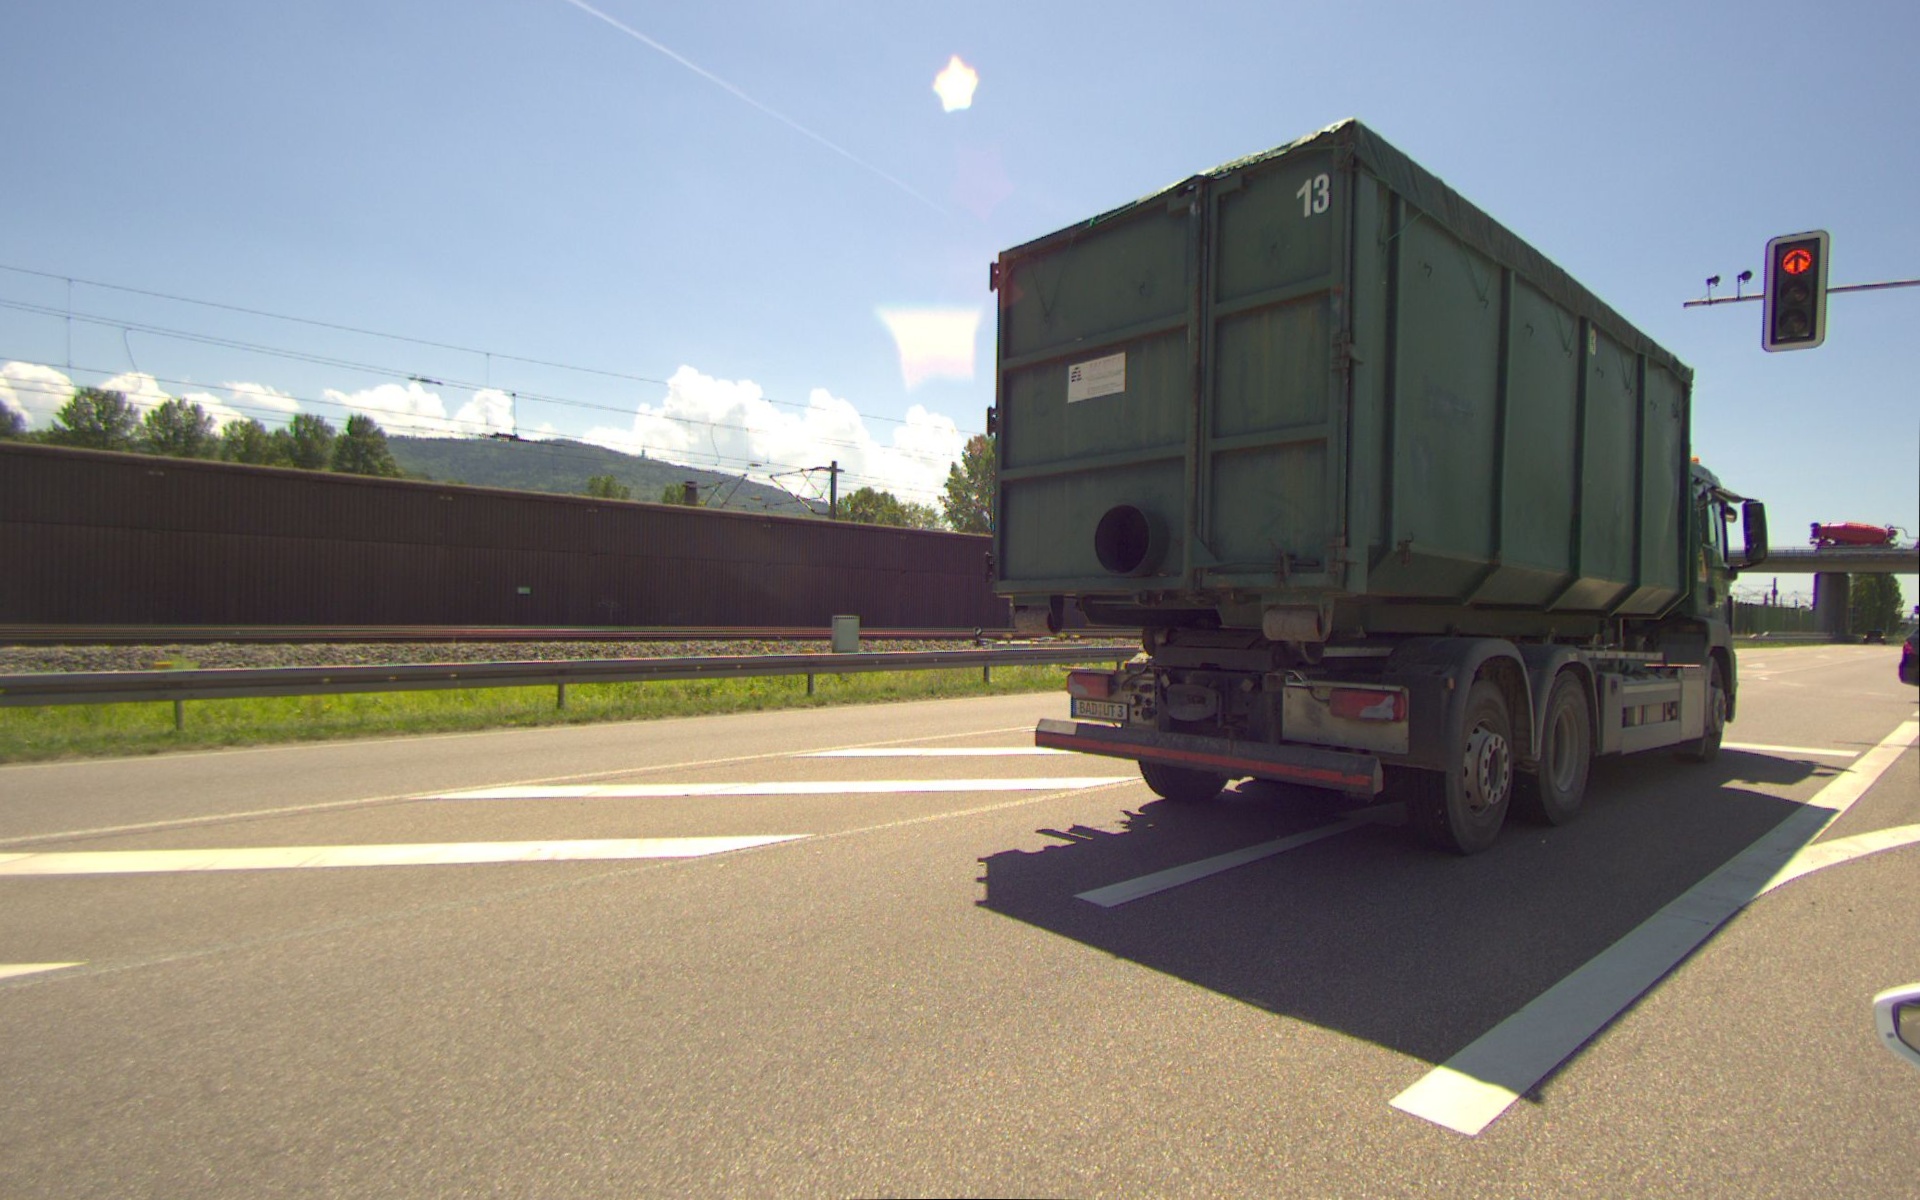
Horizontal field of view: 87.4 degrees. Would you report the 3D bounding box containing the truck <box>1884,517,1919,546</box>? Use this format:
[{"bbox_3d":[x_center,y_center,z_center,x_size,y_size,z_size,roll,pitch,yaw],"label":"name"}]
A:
[{"bbox_3d":[99.918,-7.190,104.667,1.982,2.710,5.052,1,-1,-38],"label":"truck"}]

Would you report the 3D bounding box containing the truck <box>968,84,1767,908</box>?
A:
[{"bbox_3d":[4.438,-0.423,8.768,9.502,3.787,2.566,1,0,-42],"label":"truck"}]

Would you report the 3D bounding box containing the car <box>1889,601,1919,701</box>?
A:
[{"bbox_3d":[18.237,0.949,16.244,1.897,1.791,4.593,1,1,-6],"label":"car"}]

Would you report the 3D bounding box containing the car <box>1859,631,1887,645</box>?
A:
[{"bbox_3d":[101.394,4.193,111.487,4.376,1.416,1.974,2,-1,-43],"label":"car"}]

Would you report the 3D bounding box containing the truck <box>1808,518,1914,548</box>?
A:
[{"bbox_3d":[96.961,-7.198,108.243,1.985,2.710,8.419,1,-1,-42],"label":"truck"}]
